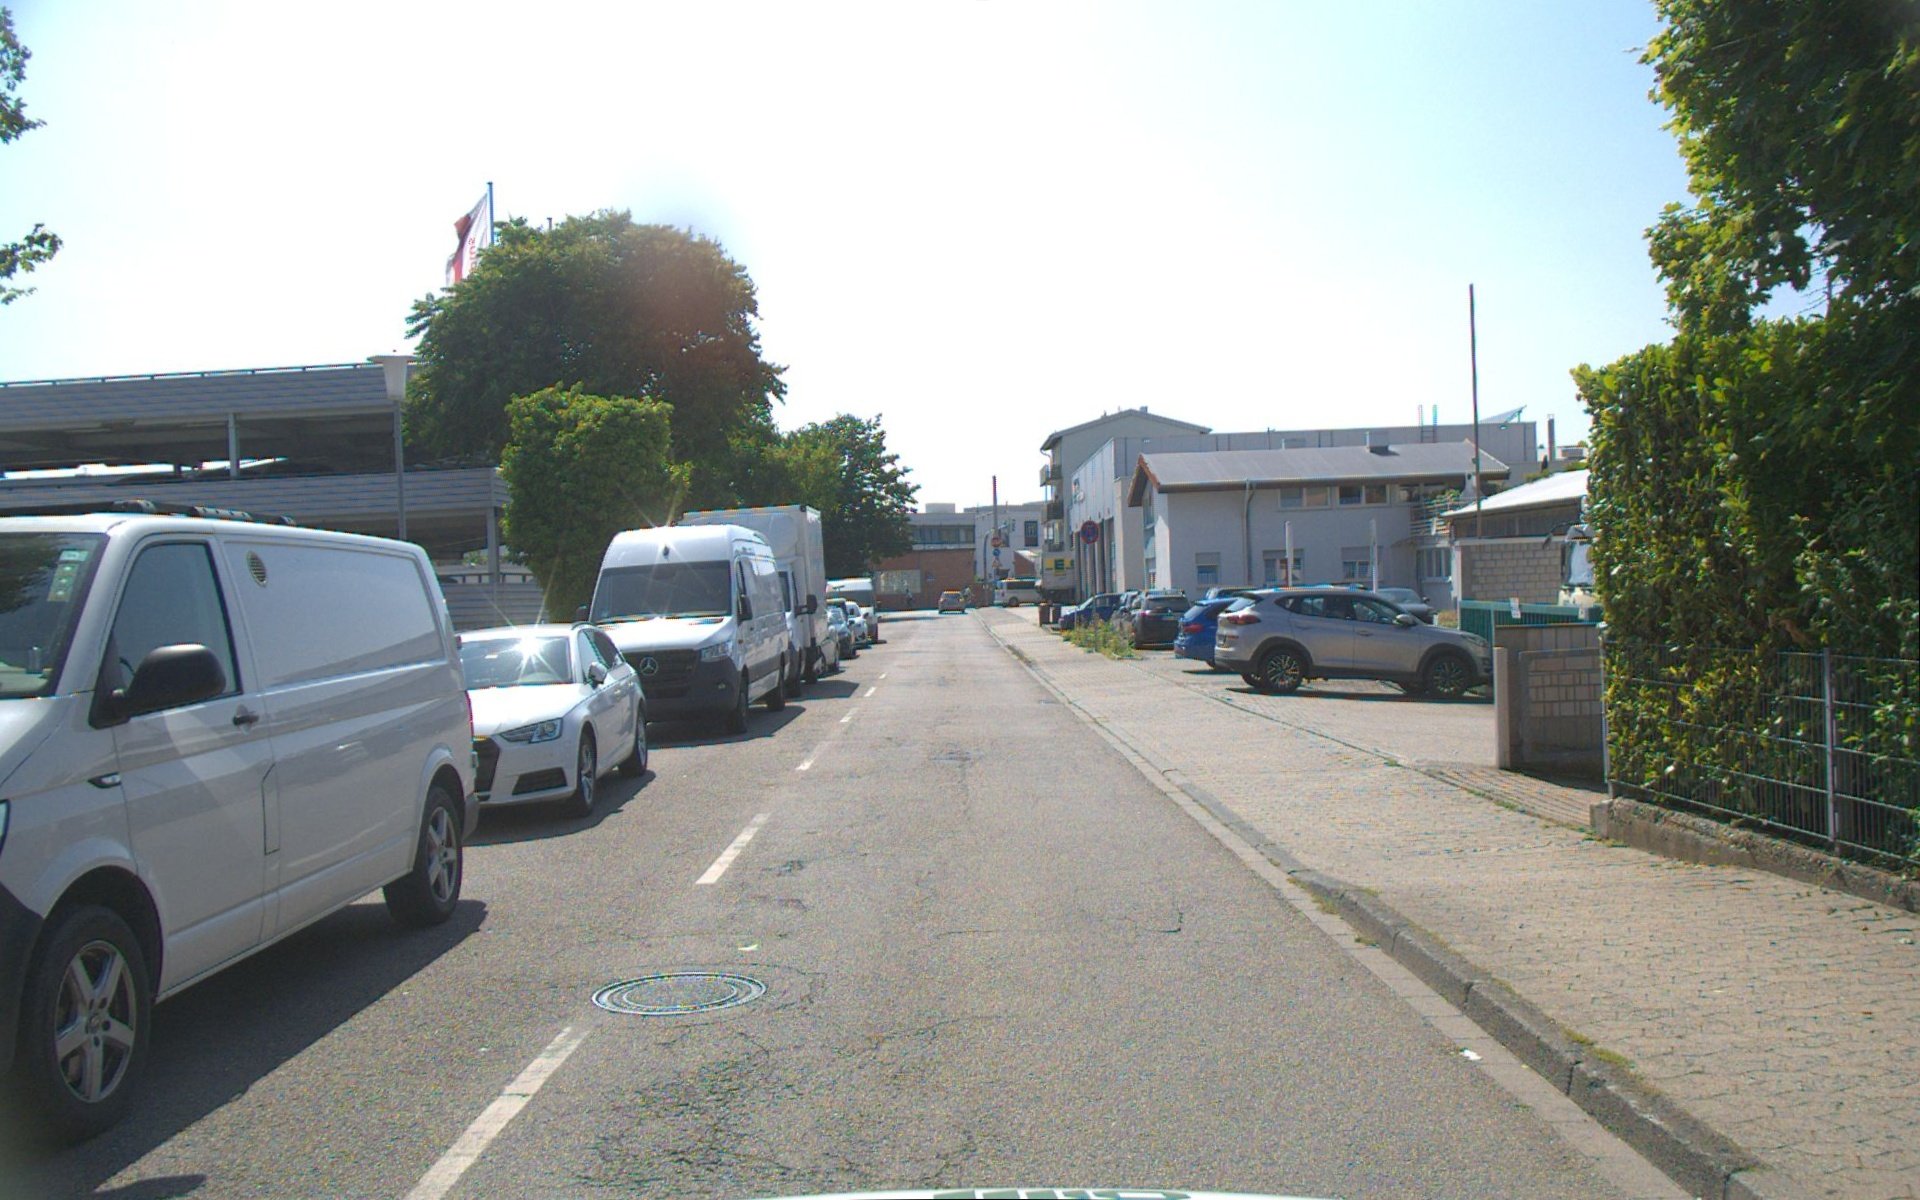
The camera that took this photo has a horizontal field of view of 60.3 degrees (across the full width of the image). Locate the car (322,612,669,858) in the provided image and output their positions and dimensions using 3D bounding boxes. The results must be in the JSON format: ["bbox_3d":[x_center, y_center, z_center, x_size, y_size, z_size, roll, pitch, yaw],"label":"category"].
[{"bbox_3d":[-3.647,0.961,13.814,1.680,1.570,4.399,-4,0,-2],"label":"car"}]

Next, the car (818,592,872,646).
[{"bbox_3d":[-3.933,0.602,56.264,1.672,1.652,3.969,-4,0,-5],"label":"car"}]

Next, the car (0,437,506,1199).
[{"bbox_3d":[-3.521,0.653,6.555,1.931,2.048,5.056,-4,0,0],"label":"car"}]

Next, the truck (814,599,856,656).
[{"bbox_3d":[-3.965,0.855,52.656,1.116,1.650,3.139,-5,1,-3],"label":"truck"}]

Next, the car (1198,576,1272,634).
[{"bbox_3d":[8.079,0.127,48.832,1.723,1.622,3.620,1,1,3],"label":"car"}]

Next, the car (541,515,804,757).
[{"bbox_3d":[-3.646,0.424,22.543,2.124,2.641,6.920,-4,0,1],"label":"car"}]

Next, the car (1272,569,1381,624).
[{"bbox_3d":[11.402,-0.104,51.769,1.729,1.521,4.138,-4,1,-11],"label":"car"}]

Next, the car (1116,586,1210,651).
[{"bbox_3d":[5.561,0.458,45.852,1.821,1.595,4.950,-3,1,-1],"label":"car"}]

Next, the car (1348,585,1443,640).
[{"bbox_3d":[11.858,0.306,45.262,1.608,1.347,4.102,-3,1,2],"label":"car"}]

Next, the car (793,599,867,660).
[{"bbox_3d":[-3.644,0.800,46.877,1.670,1.488,4.114,-4,0,0],"label":"car"}]

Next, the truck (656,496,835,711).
[{"bbox_3d":[-3.832,0.070,31.062,2.632,3.425,7.125,-3,0,-3],"label":"truck"}]

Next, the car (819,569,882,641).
[{"bbox_3d":[-4.018,0.143,61.438,1.966,2.406,5.227,-5,1,-2],"label":"car"}]

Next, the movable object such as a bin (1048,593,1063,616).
[{"bbox_3d":[4.118,0.183,71.282,0.502,0.962,0.488,-3,1,11],"label":"movable object such as a bin"}]

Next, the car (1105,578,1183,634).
[{"bbox_3d":[5.671,0.148,51.407,1.775,1.585,4.292,-3,1,-1],"label":"car"}]

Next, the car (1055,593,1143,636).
[{"bbox_3d":[5.302,0.548,63.288,3.187,1.423,1.673,-3,1,0],"label":"car"}]

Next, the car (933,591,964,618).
[{"bbox_3d":[-0.793,0.301,113.019,1.853,1.714,3.955,-2,0,-3],"label":"car"}]

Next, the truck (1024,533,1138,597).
[{"bbox_3d":[8.347,-2.431,114.509,7.221,3.707,2.764,-6,1,-7],"label":"truck"}]

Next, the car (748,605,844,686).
[{"bbox_3d":[-3.612,0.967,37.041,1.706,1.547,4.309,-3,1,-1],"label":"car"}]

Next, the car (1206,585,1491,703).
[{"bbox_3d":[6.180,0.691,26.605,4.116,1.711,1.766,2,0,-1],"label":"car"}]

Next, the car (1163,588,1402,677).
[{"bbox_3d":[6.307,0.616,32.670,4.265,1.466,1.892,-3,0,-1],"label":"car"}]

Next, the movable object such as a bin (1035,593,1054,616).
[{"bbox_3d":[3.637,0.184,70.865,0.557,0.962,0.556,-3,1,33],"label":"movable object such as a bin"}]

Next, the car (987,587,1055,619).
[{"bbox_3d":[4.546,0.213,122.687,4.586,1.991,1.905,-4,-1,-20],"label":"car"}]

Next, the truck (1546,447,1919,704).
[{"bbox_3d":[12.623,-0.331,23.970,7.364,3.483,2.527,1,0,0],"label":"truck"}]
